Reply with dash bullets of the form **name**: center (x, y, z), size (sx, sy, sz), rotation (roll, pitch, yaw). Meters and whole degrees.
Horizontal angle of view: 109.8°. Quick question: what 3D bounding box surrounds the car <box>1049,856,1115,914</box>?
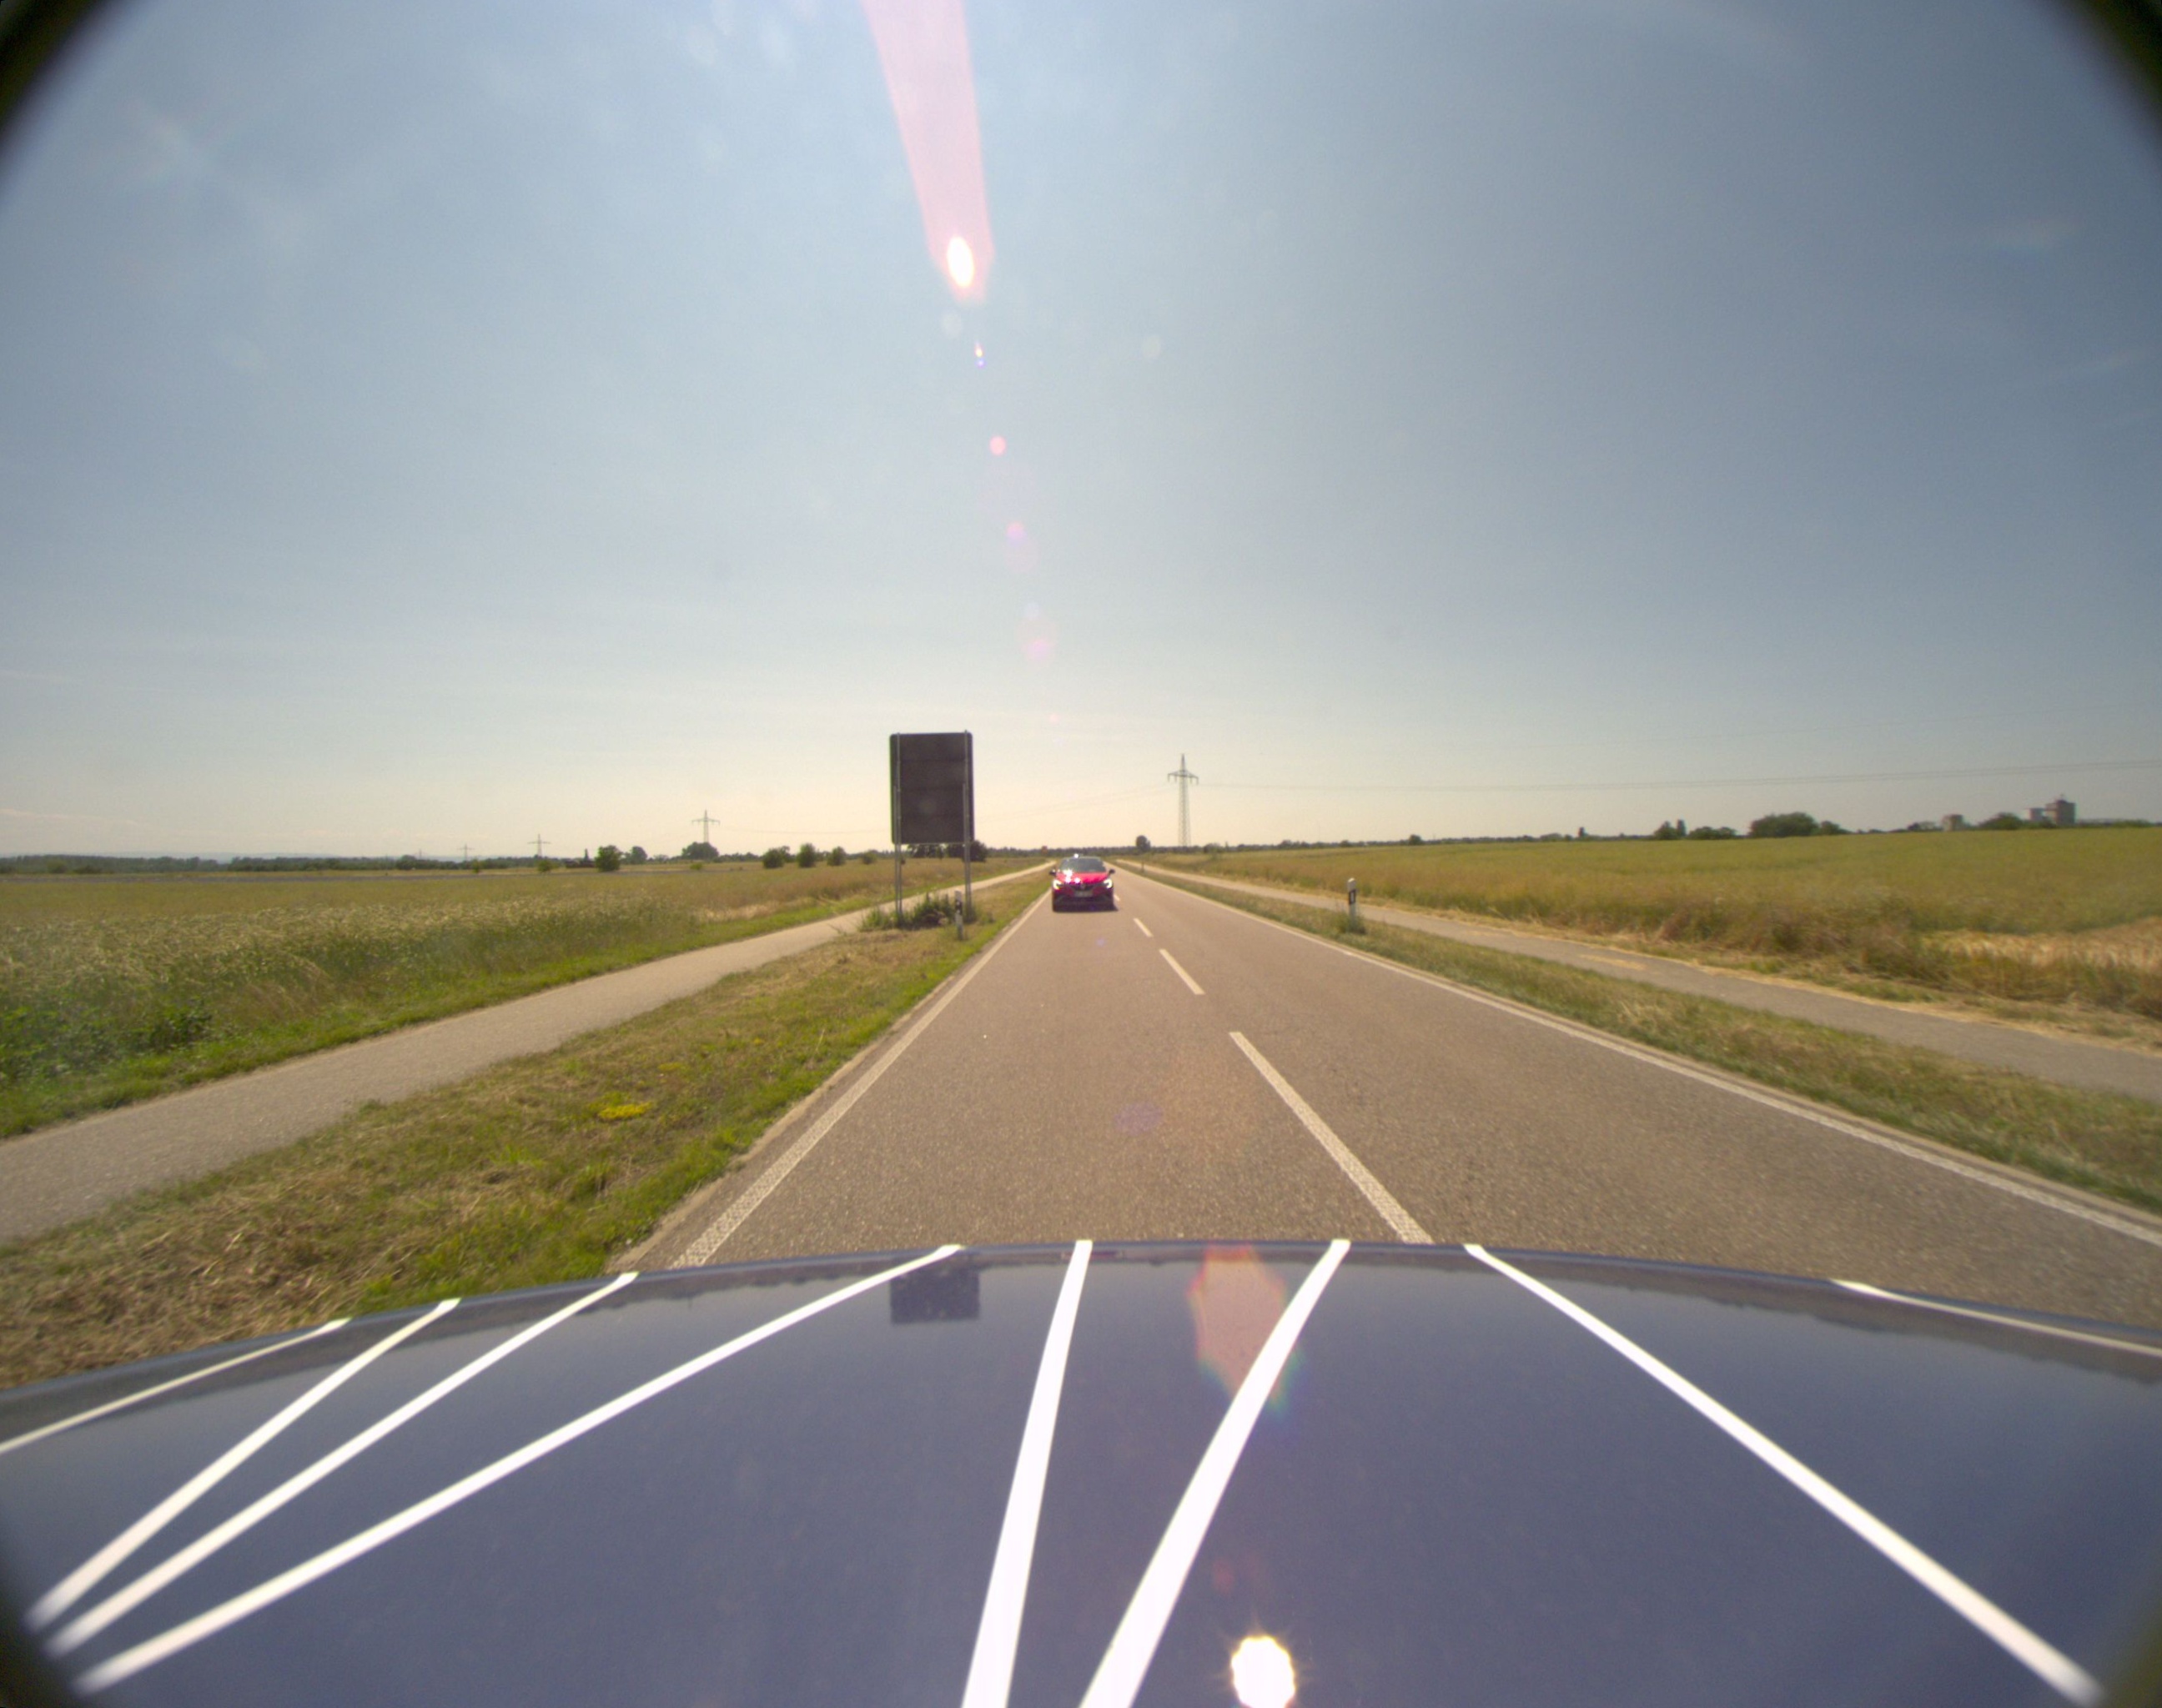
- **car**: center (0.085, 0.896, 23.830), size (1.826, 1.543, 4.449), rotation (-2, 0, 1)
